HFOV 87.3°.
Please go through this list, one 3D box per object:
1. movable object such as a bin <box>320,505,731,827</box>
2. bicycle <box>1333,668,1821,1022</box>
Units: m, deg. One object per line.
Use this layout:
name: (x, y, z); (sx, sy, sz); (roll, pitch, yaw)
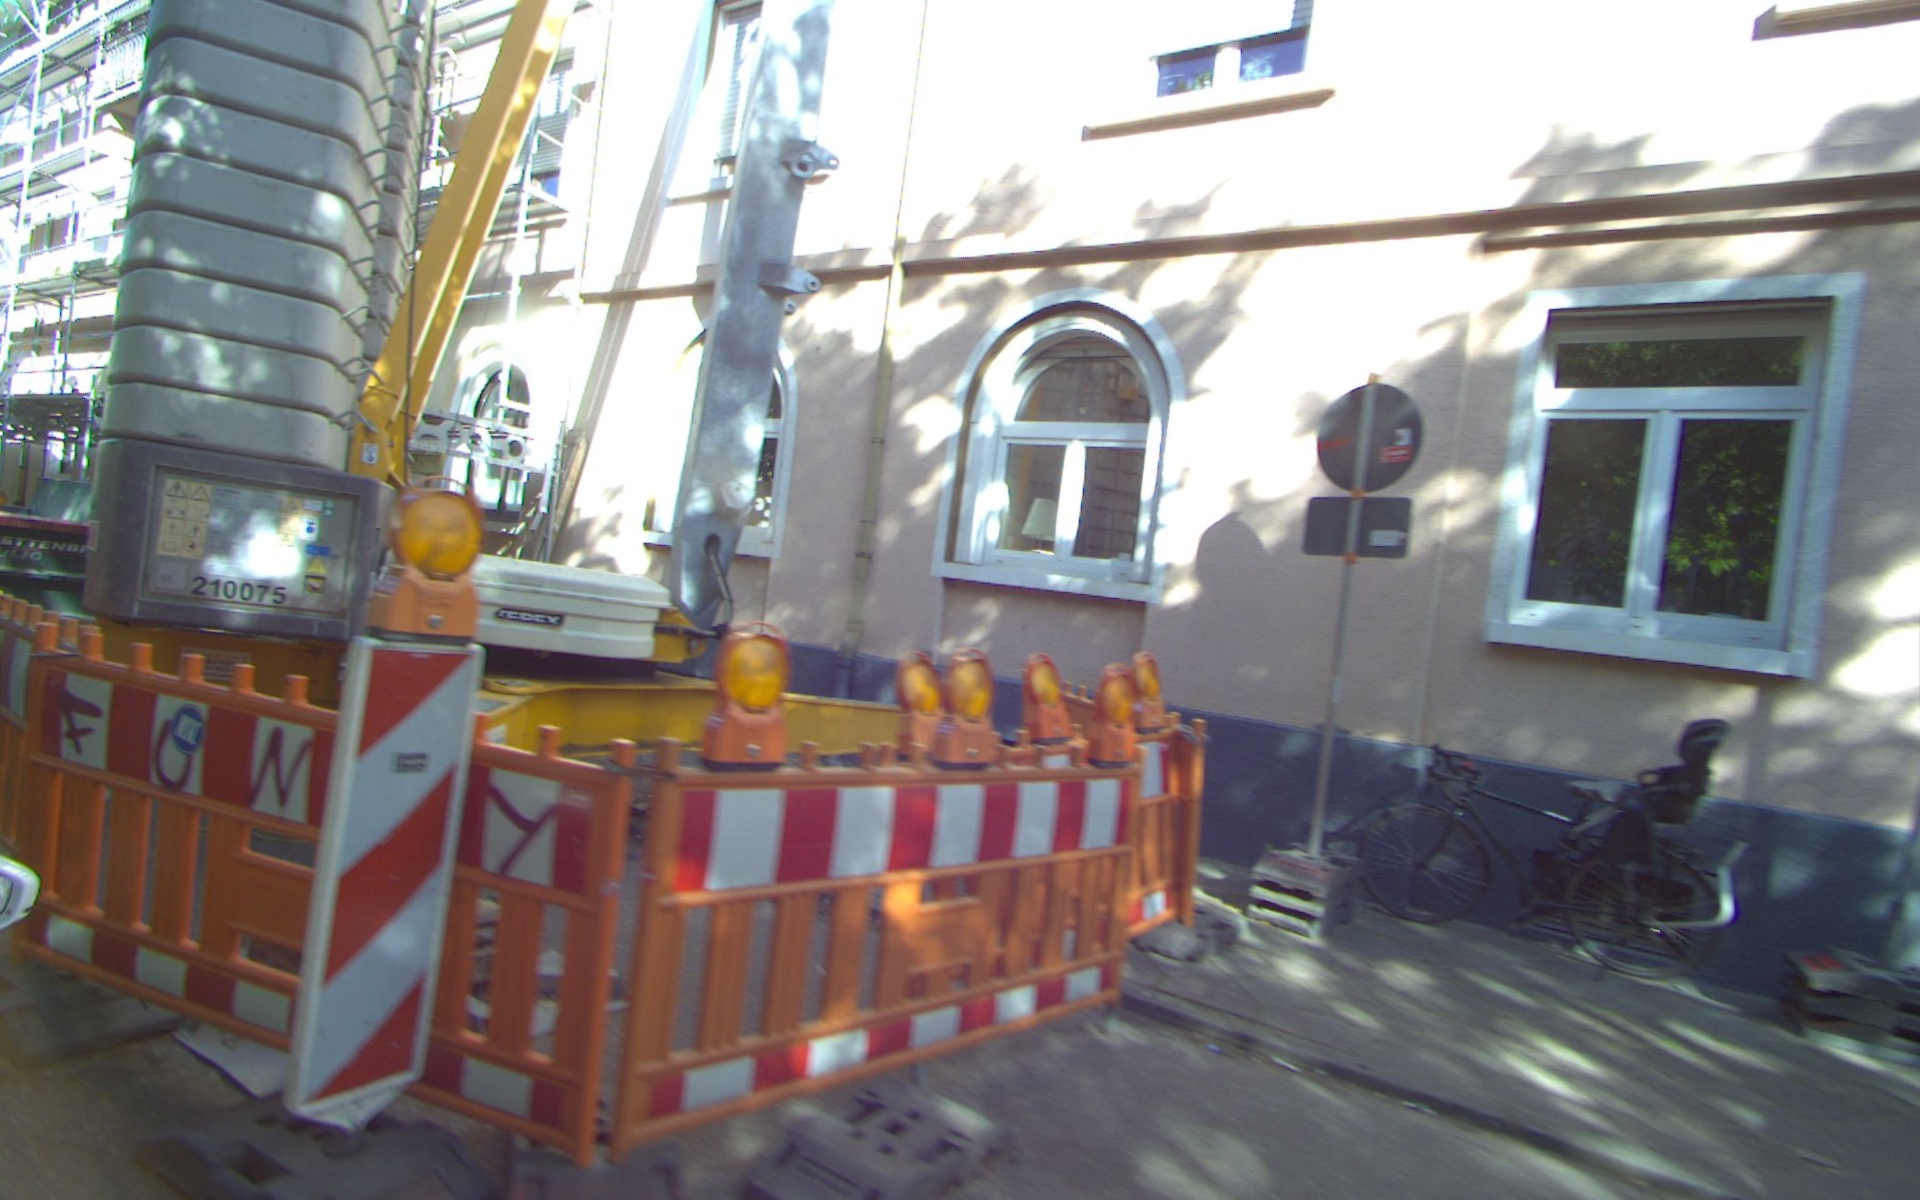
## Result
movable object such as a bin: (-2.545, 0.382, 6.085); (1.853, 1.545, 1.619); (7, 0, -23)
bicycle: (3.139, 1.179, 5.333); (1.988, 1.364, 0.445); (7, 0, 32)
